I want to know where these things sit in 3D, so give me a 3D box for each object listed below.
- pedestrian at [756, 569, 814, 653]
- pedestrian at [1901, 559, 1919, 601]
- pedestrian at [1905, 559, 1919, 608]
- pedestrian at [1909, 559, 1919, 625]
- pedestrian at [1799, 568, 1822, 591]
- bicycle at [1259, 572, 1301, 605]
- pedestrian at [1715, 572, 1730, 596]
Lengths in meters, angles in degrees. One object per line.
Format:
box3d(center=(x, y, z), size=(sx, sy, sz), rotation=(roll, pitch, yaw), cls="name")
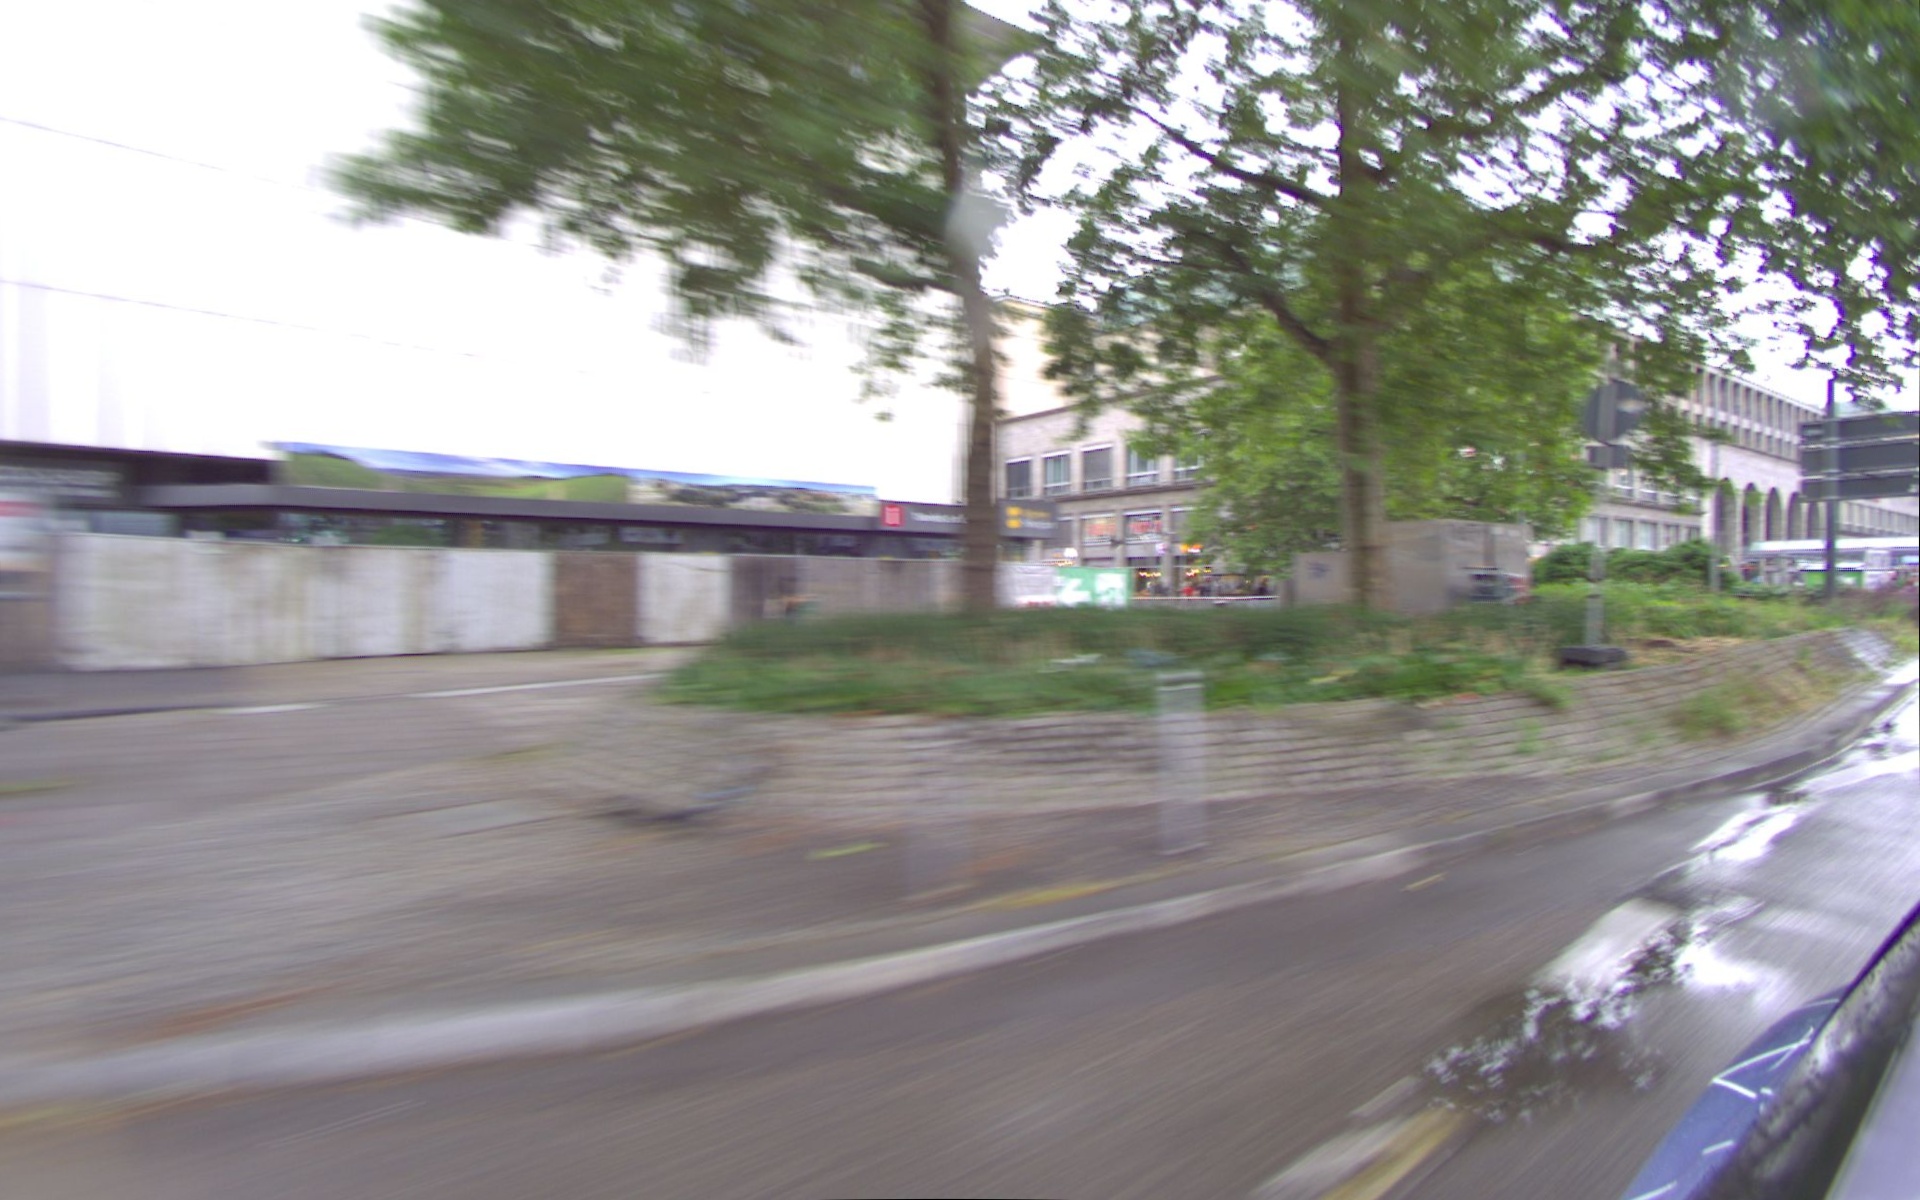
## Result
box3d(center=(-3.186, 0.191, 18.414), size=(0.907, 1.487, 0.551), rotation=(0, 1, -33), cls="pedestrian")
box3d(center=(44.465, -0.932, 47.292), size=(0.706, 1.957, 0.777), rotation=(0, 1, 42), cls="pedestrian")
box3d(center=(31.426, -0.541, 33.029), size=(0.621, 1.574, 0.659), rotation=(-1, 0, -25), cls="pedestrian")
box3d(center=(32.028, -0.265, 33.485), size=(0.707, 2.172, 0.711), rotation=(-2, 1, -30), cls="pedestrian")
box3d(center=(60.783, -1.470, 72.358), size=(0.973, 1.609, 0.789), rotation=(0, 1, -1), cls="pedestrian")
box3d(center=(15.594, -0.542, 49.320), size=(2.089, 1.582, 0.796), rotation=(0, 0, -31), cls="bicycle")
box3d(center=(57.921, -1.232, 76.829), size=(0.774, 1.814, 0.733), rotation=(-1, 1, -38), cls="pedestrian")
